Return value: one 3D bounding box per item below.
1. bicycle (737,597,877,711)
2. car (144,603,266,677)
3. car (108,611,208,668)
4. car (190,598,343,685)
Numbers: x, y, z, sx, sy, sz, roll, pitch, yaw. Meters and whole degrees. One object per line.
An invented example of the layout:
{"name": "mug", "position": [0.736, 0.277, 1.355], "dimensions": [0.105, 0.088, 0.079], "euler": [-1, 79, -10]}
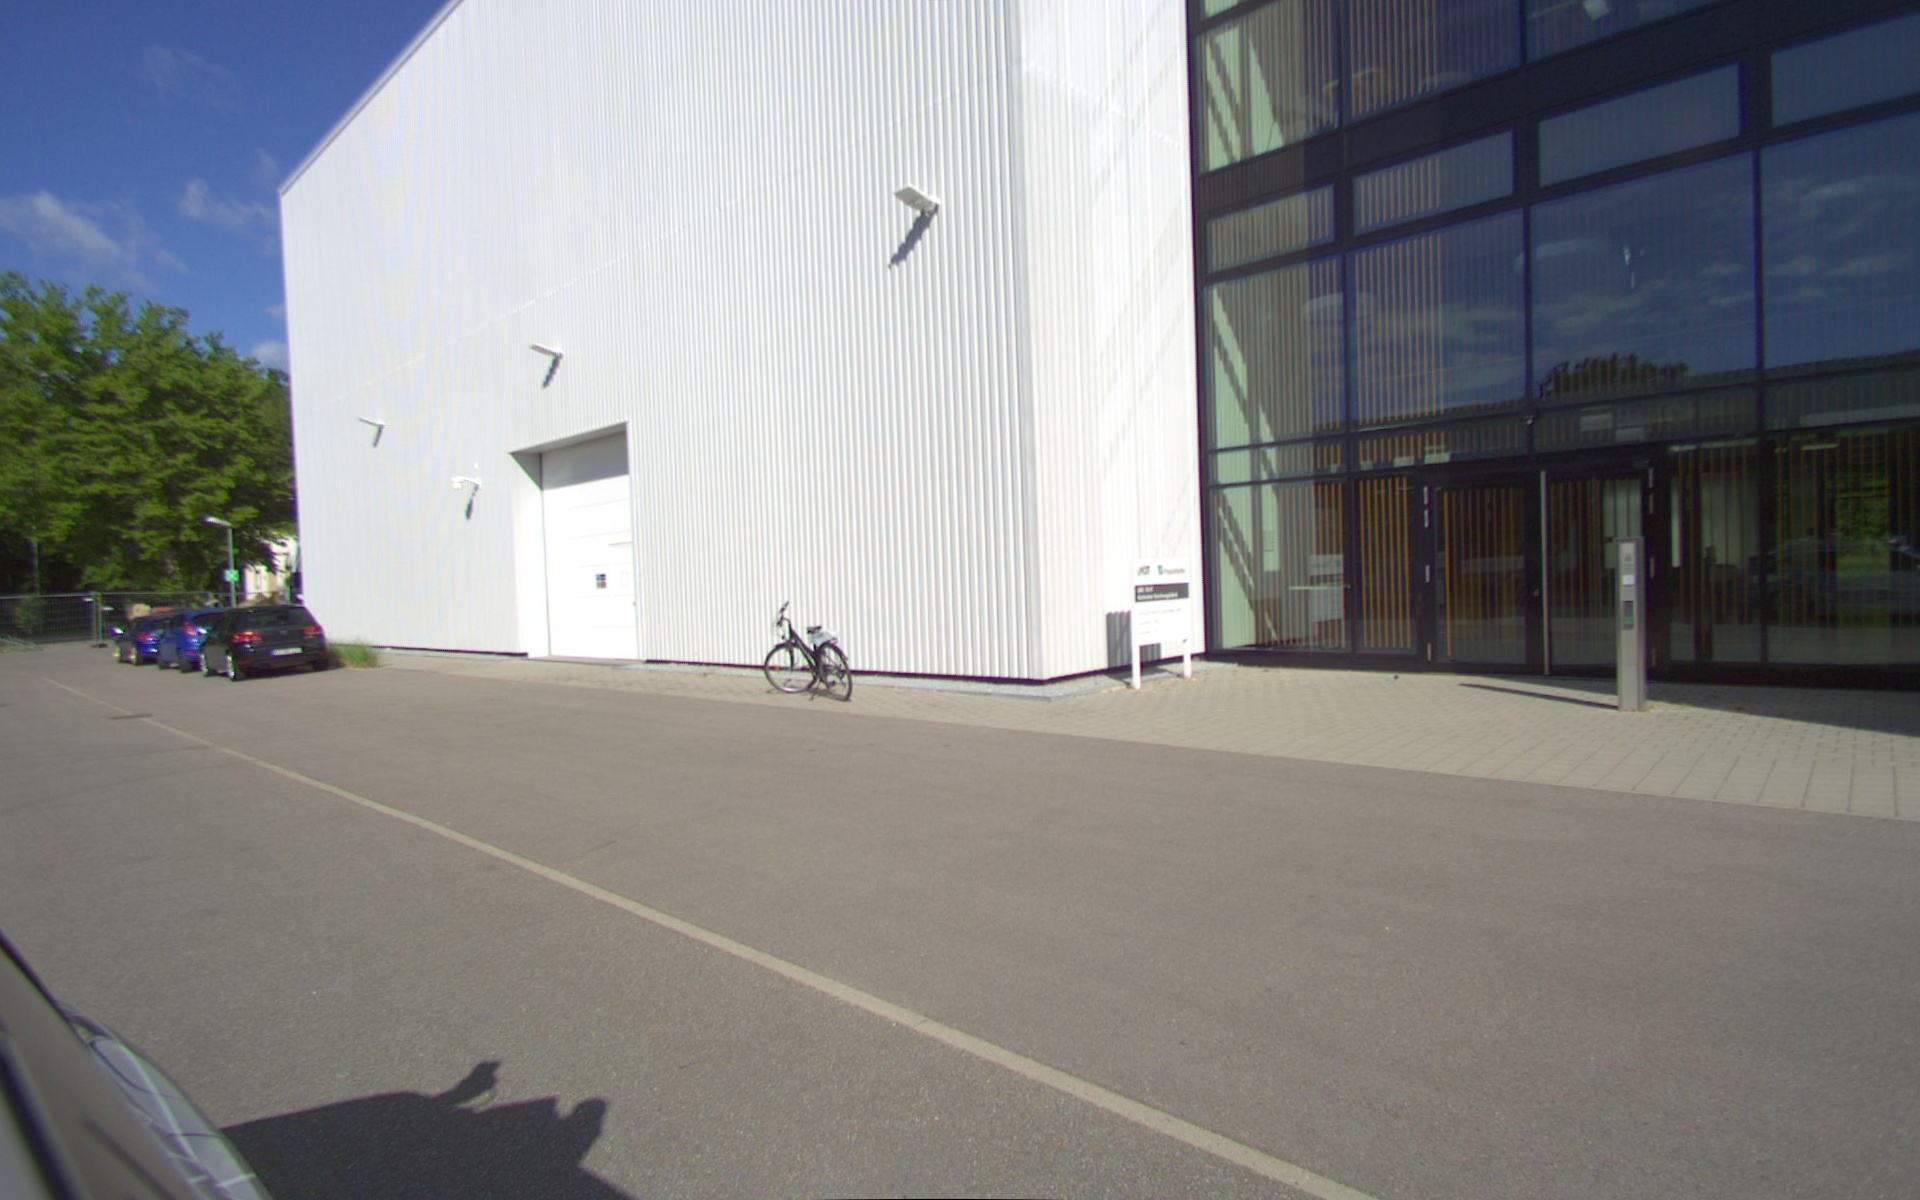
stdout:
{"name": "bicycle", "position": [-1.876, 0.595, 12.169], "dimensions": [0.895, 1.151, 1.905], "euler": [-6, 4, -32]}
{"name": "car", "position": [-18.757, 0.951, 25.082], "dimensions": [4.002, 1.533, 1.766], "euler": [-1, 4, 45]}
{"name": "car", "position": [-22.835, 1.090, 28.773], "dimensions": [4.002, 1.451, 1.765], "euler": [-1, 0, 45]}
{"name": "car", "position": [-14.845, 0.833, 21.582], "dimensions": [4.002, 1.533, 1.870], "euler": [-1, 4, 45]}
